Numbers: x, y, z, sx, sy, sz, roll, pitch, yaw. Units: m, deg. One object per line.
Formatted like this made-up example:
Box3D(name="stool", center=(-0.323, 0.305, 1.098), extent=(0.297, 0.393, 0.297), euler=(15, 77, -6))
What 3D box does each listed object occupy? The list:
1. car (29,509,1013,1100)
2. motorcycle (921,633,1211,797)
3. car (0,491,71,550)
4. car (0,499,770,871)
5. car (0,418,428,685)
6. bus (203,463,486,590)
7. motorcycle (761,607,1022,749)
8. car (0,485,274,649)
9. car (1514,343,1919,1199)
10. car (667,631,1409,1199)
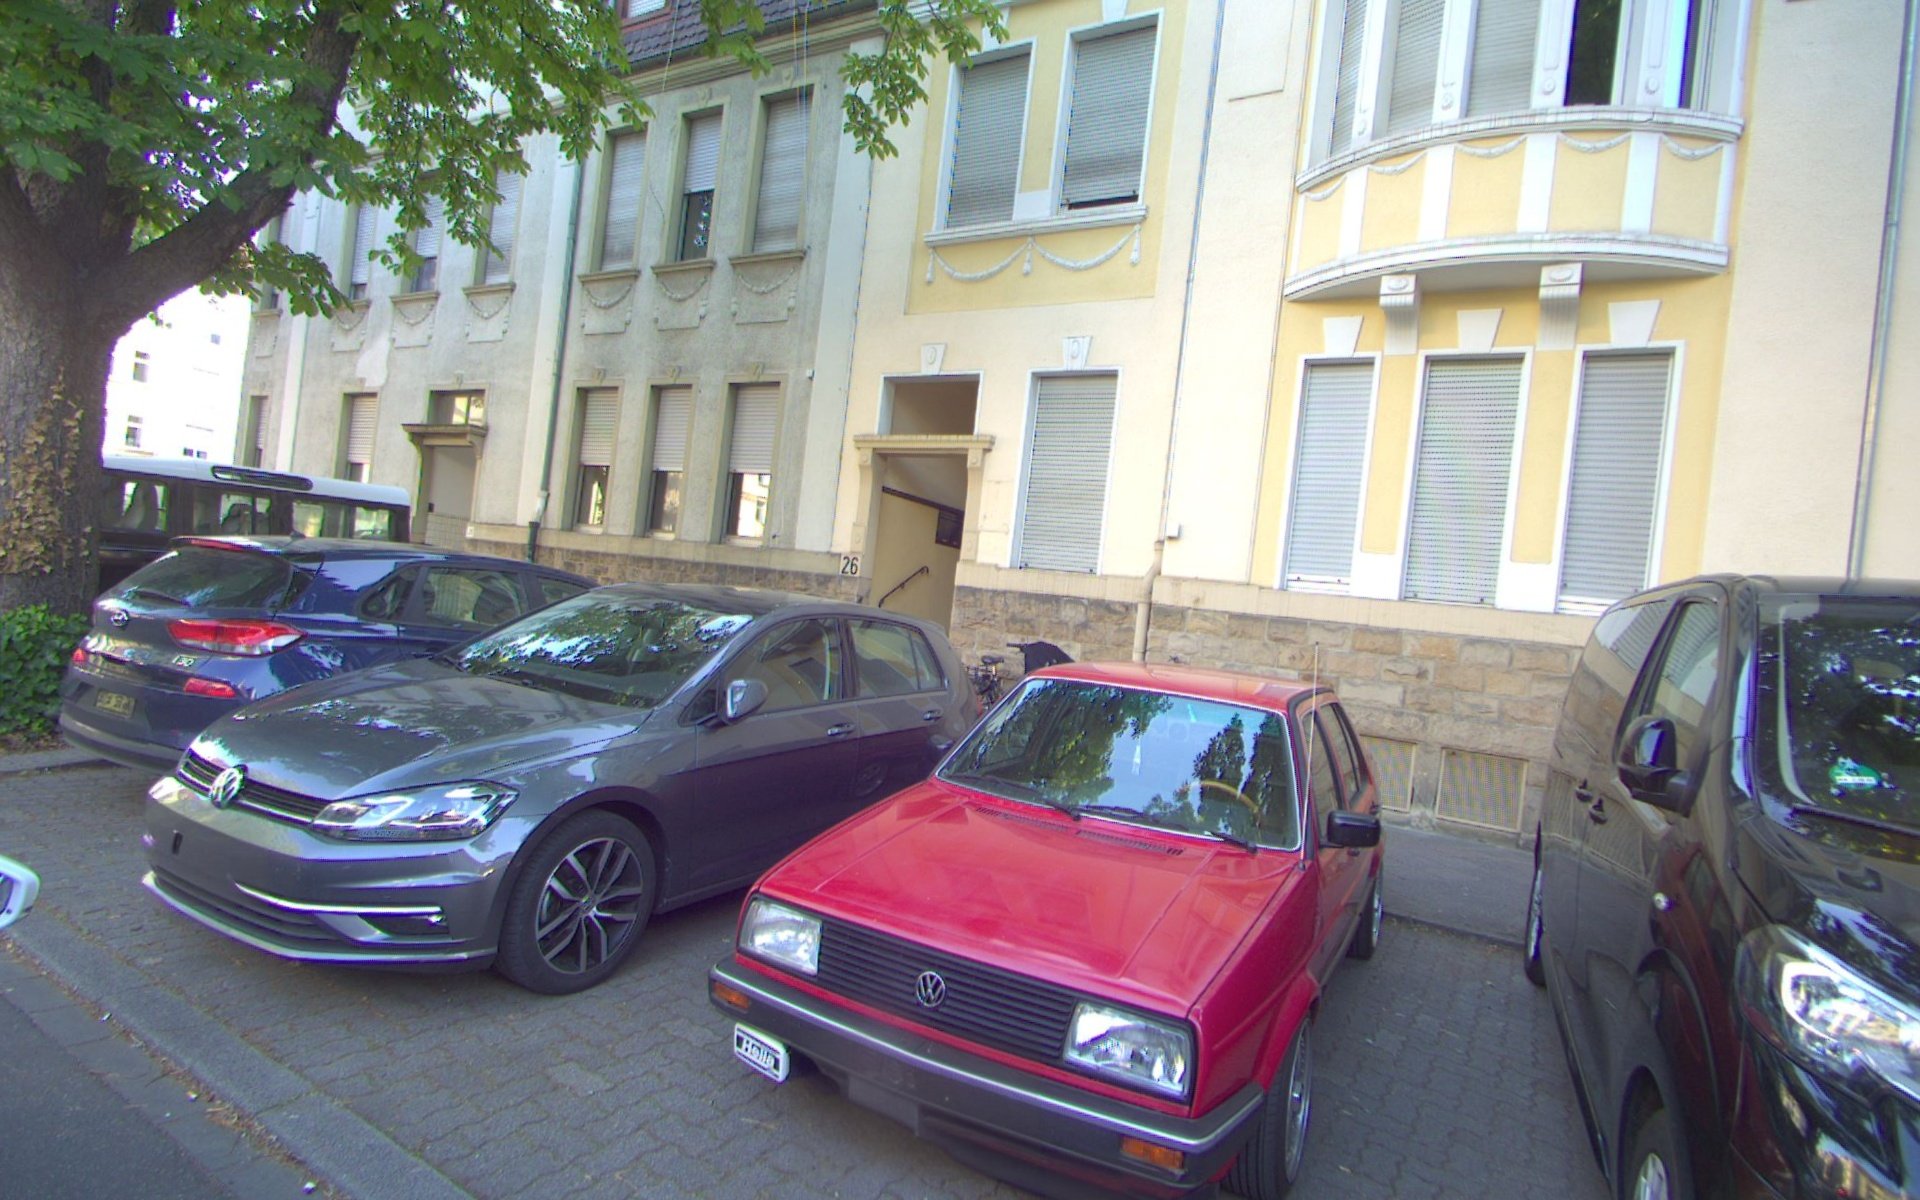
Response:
Box3D(name="car", center=(-1.431, 0.621, 4.823), extent=(1.693, 1.470, 4.060), euler=(6, 0, 28))
Box3D(name="motorcycle", center=(0.956, 0.999, 9.402), extent=(2.439, 1.087, 0.959), euler=(7, 2, 32))
Box3D(name="car", center=(-28.204, -2.473, 28.345), extent=(1.632, 1.514, 4.358), euler=(7, -1, 25))
Box3D(name="car", center=(-3.085, 0.425, 6.205), extent=(1.679, 1.470, 3.730), euler=(6, 0, 28))
Box3D(name="car", center=(-7.592, -0.368, 9.242), extent=(1.671, 2.061, 4.473), euler=(6, 0, 28))
Box3D(name="bus", center=(-21.429, -2.419, 35.753), extent=(2.859, 3.240, 8.199), euler=(7, -1, 24))
Box3D(name="motorcycle", center=(-0.790, 0.778, 10.791), extent=(2.822, 1.087, 0.694), euler=(7, 2, 31))
Box3D(name="car", center=(-9.987, -0.385, 10.943), extent=(1.679, 1.589, 3.730), euler=(6, 0, 28))
Box3D(name="car", center=(2.853, 0.869, 2.884), extent=(1.864, 1.898, 4.759), euler=(6, 0, 27))
Box3D(name="car", center=(0.876, 0.945, 4.311), extent=(1.601, 1.332, 4.144), euler=(6, 0, 27))
